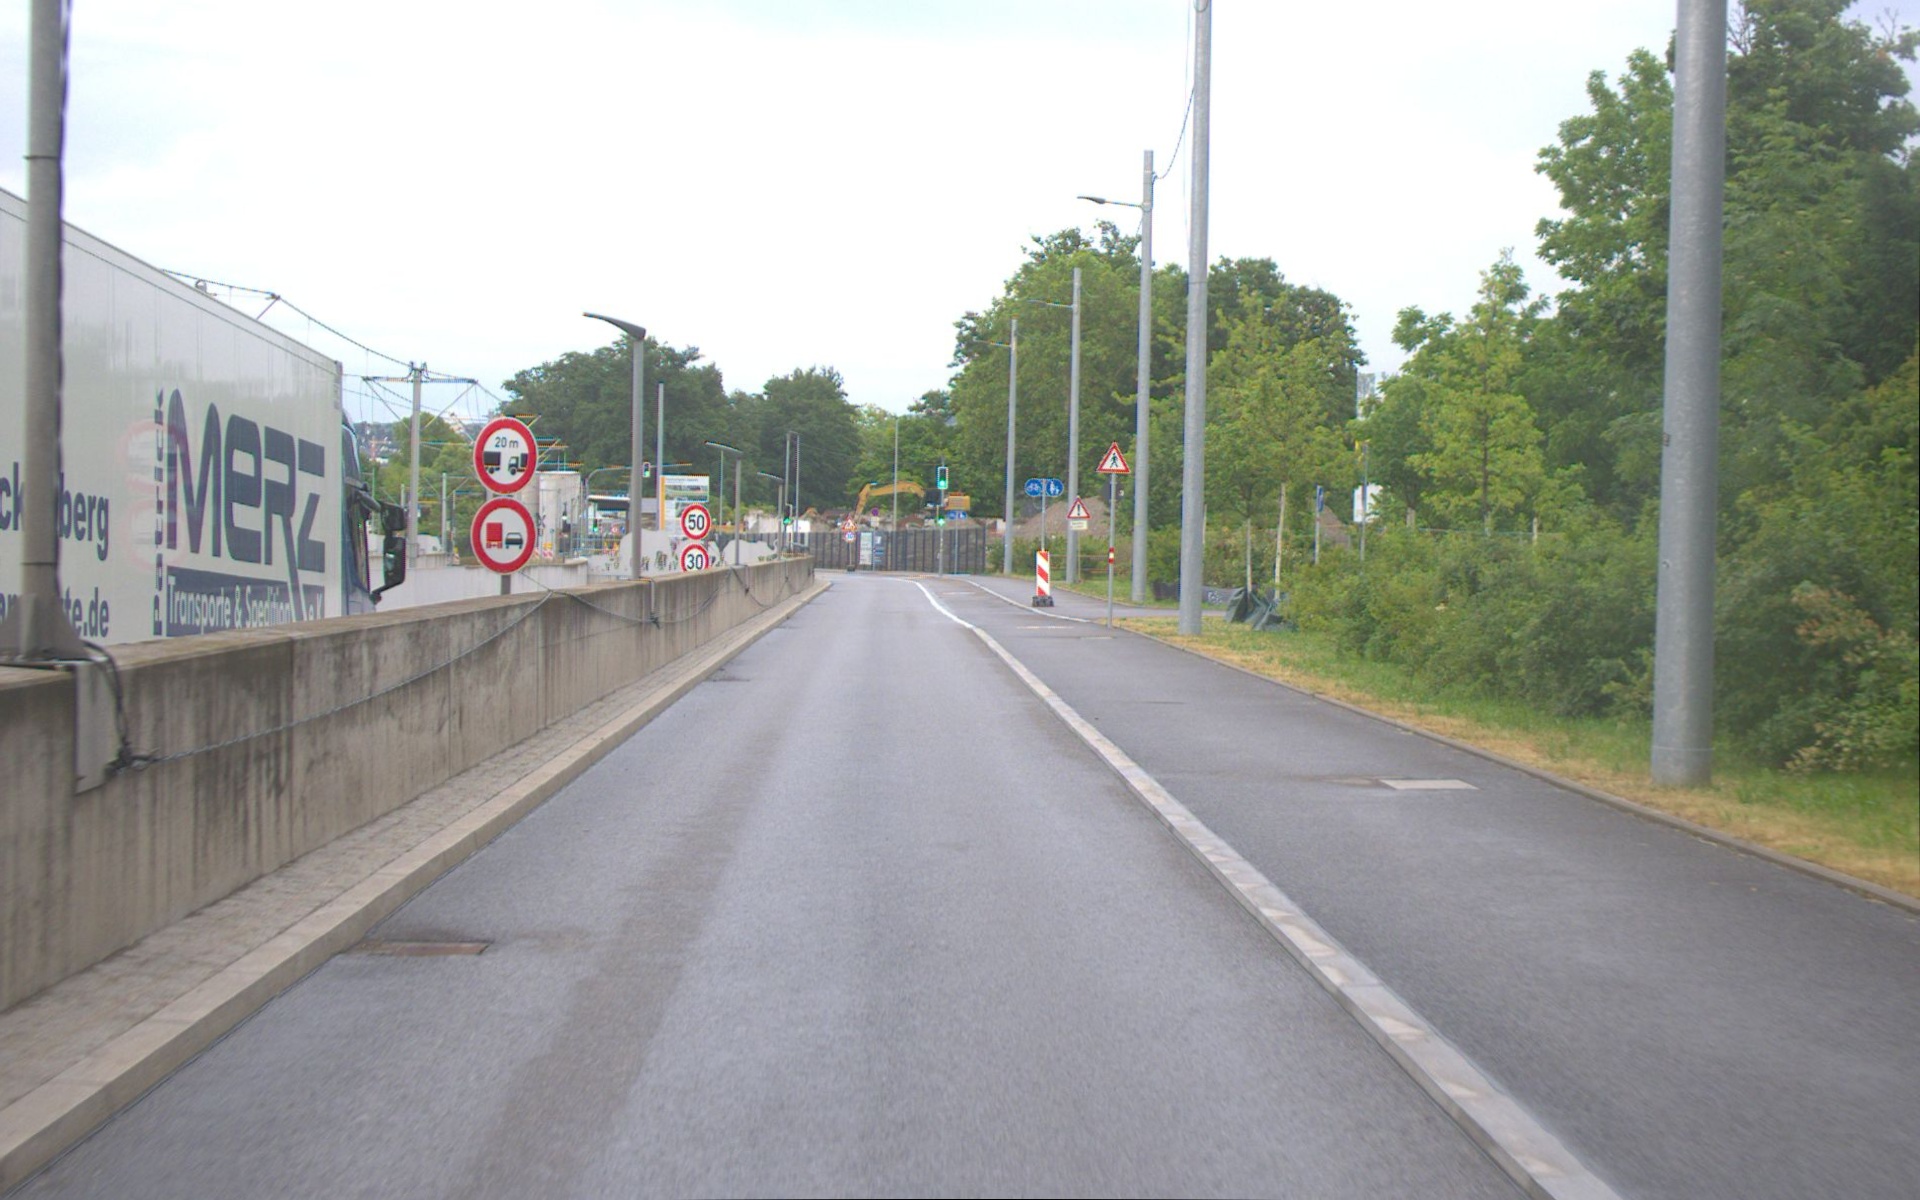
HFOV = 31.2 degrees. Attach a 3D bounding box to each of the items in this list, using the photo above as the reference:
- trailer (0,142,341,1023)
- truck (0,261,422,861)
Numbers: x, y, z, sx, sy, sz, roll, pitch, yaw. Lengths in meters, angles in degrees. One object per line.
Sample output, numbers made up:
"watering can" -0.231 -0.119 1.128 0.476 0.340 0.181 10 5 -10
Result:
"trailer" -6.043 -0.157 19.517 2.762 4.238 13.184 -1 1 -1
"truck" -6.143 -0.347 27.320 2.756 4.190 6.307 -1 1 -1
